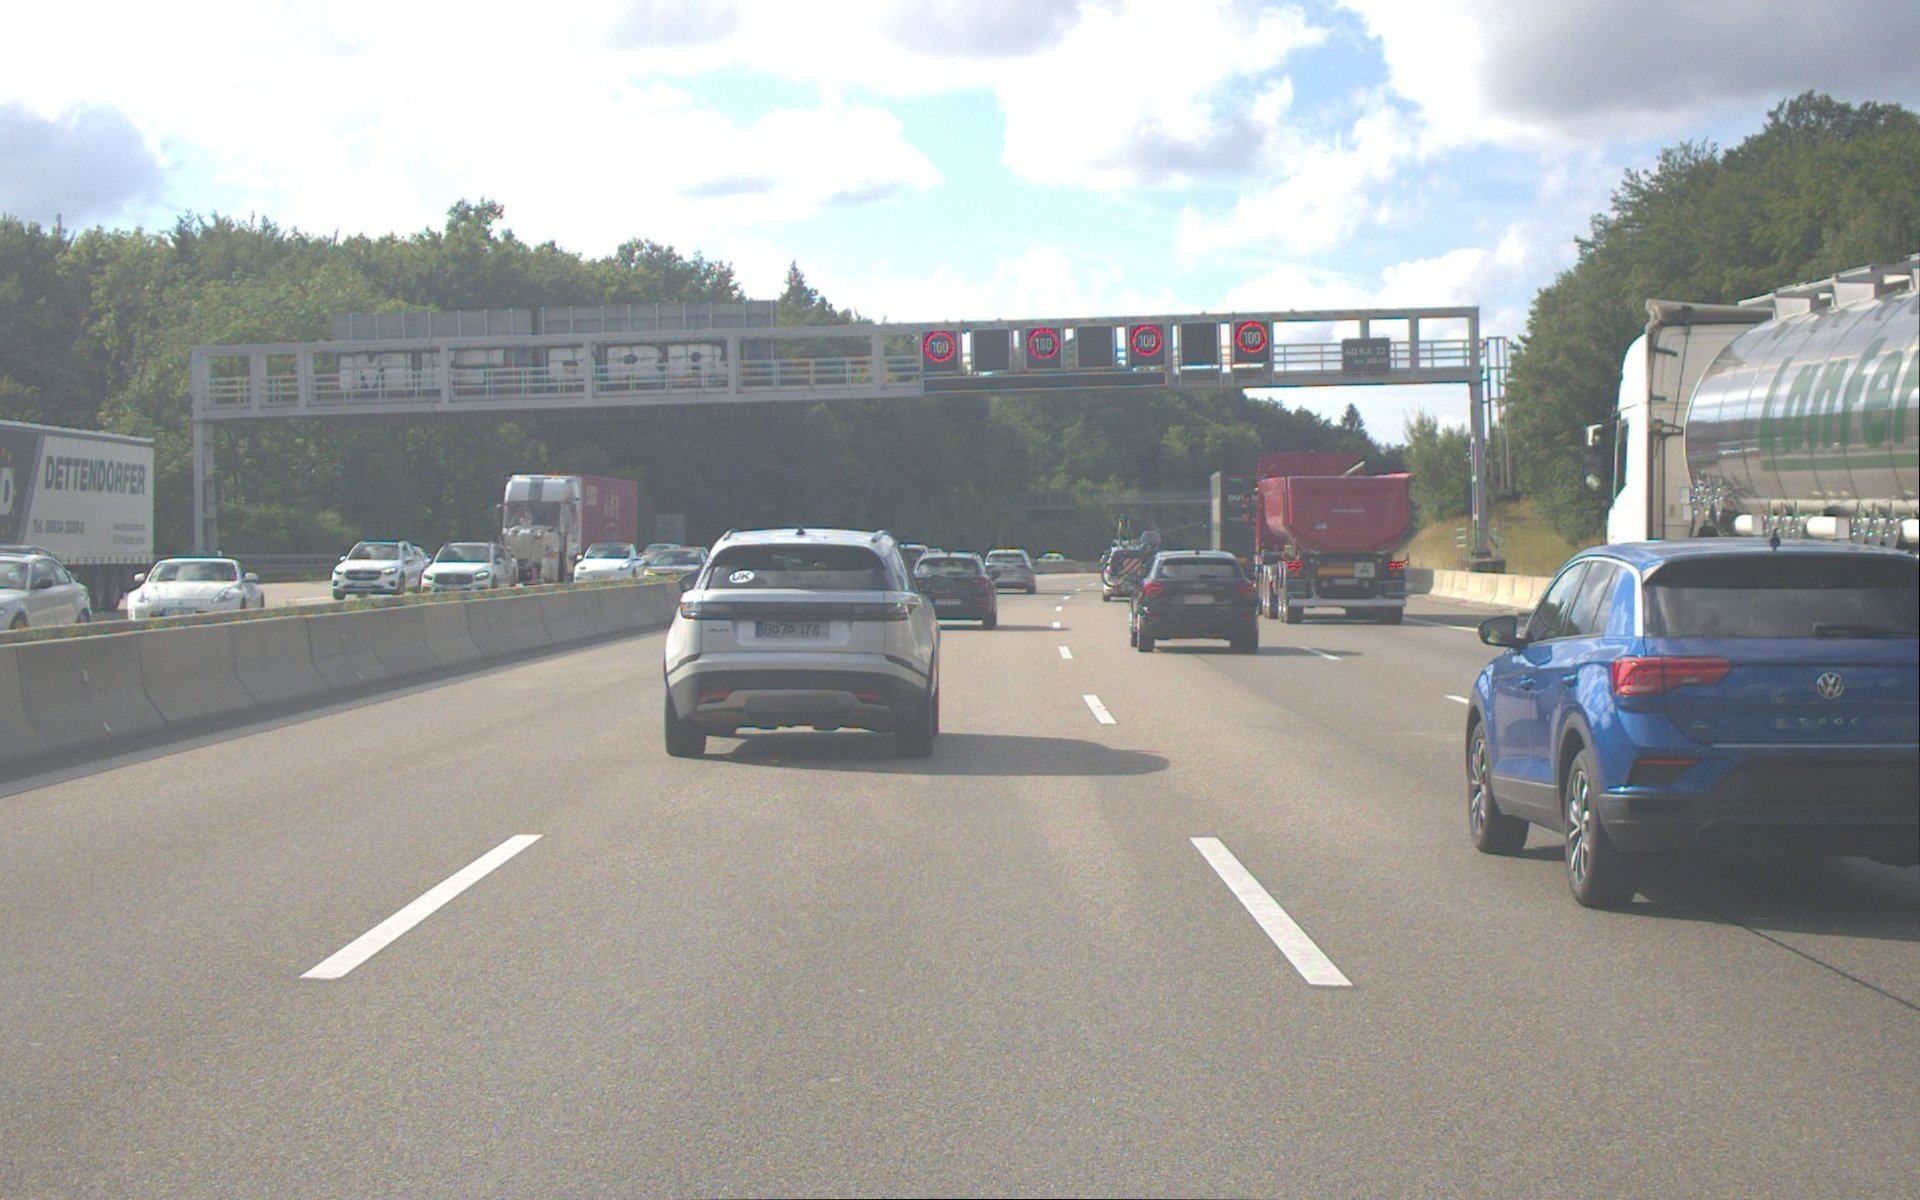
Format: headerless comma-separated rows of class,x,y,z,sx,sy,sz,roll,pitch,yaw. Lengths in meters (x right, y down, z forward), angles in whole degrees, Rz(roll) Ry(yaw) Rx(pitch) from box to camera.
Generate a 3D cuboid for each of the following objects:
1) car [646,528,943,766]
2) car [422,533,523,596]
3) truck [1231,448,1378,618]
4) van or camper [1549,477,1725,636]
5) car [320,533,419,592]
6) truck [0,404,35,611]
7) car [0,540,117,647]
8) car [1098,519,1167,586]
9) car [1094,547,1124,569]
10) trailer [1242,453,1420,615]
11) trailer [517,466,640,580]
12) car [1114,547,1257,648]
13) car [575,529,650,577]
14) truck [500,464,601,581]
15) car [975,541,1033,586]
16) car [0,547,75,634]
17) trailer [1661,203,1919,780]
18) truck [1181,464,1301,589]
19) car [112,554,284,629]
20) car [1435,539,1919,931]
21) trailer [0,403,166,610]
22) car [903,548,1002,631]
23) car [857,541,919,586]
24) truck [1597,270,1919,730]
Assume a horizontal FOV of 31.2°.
car,-1.155,0.277,26.284,2.006,1.611,5.301,1,1,0
car,-12.633,-0.940,89.349,1.708,1.588,4.943,0,1,2
truck,7.805,-1.534,78.561,2.710,3.706,5.818,0,1,0
van or camper,10.216,-0.666,52.204,1.822,2.299,4.939,0,1,2
car,-16.489,-1.073,96.236,1.794,1.612,5.045,0,1,1
truck,-20.606,-1.817,67.144,3.318,4.092,6.225,0,1,1
car,-13.120,-0.126,46.994,1.682,1.392,4.714,0,1,5
car,4.898,-1.351,97.738,1.894,1.850,4.100,1,1,3
car,10.568,-2.959,243.465,2.077,1.452,4.000,-1,1,3
trailer,7.822,-1.422,73.661,2.710,3.220,9.733,0,1,0
trailer,-14.396,-2.899,130.793,2.739,4.092,13.416,0,1,2
car,3.361,-0.061,51.877,1.822,1.452,4.000,0,1,-1
car,-11.502,-1.562,114.036,1.857,1.520,4.995,1,1,1
truck,-14.632,-2.768,123.079,2.739,4.092,5.764,0,1,2
car,1.471,-1.191,113.408,1.822,1.452,4.000,1,0,2
car,-17.126,-0.193,60.447,1.811,1.448,4.801,0,1,1
trailer,7.621,-0.768,25.369,2.649,3.754,11.860,0,1,1
truck,9.198,-2.404,113.713,3.118,3.921,10.411,0,1,0
car,-12.499,-0.164,56.623,1.811,1.157,4.515,0,1,0
car,3.394,0.491,15.652,1.773,1.525,4.458,0,1,-1
trailer,-20.516,-1.960,74.222,3.317,4.092,14.155,0,1,1
car,-0.118,-0.227,66.222,1.822,1.541,4.000,0,1,1
car,-2.378,-1.227,114.290,1.942,1.452,4.000,-1,1,0
truck,7.707,-0.884,31.618,2.649,3.810,6.082,0,1,1
